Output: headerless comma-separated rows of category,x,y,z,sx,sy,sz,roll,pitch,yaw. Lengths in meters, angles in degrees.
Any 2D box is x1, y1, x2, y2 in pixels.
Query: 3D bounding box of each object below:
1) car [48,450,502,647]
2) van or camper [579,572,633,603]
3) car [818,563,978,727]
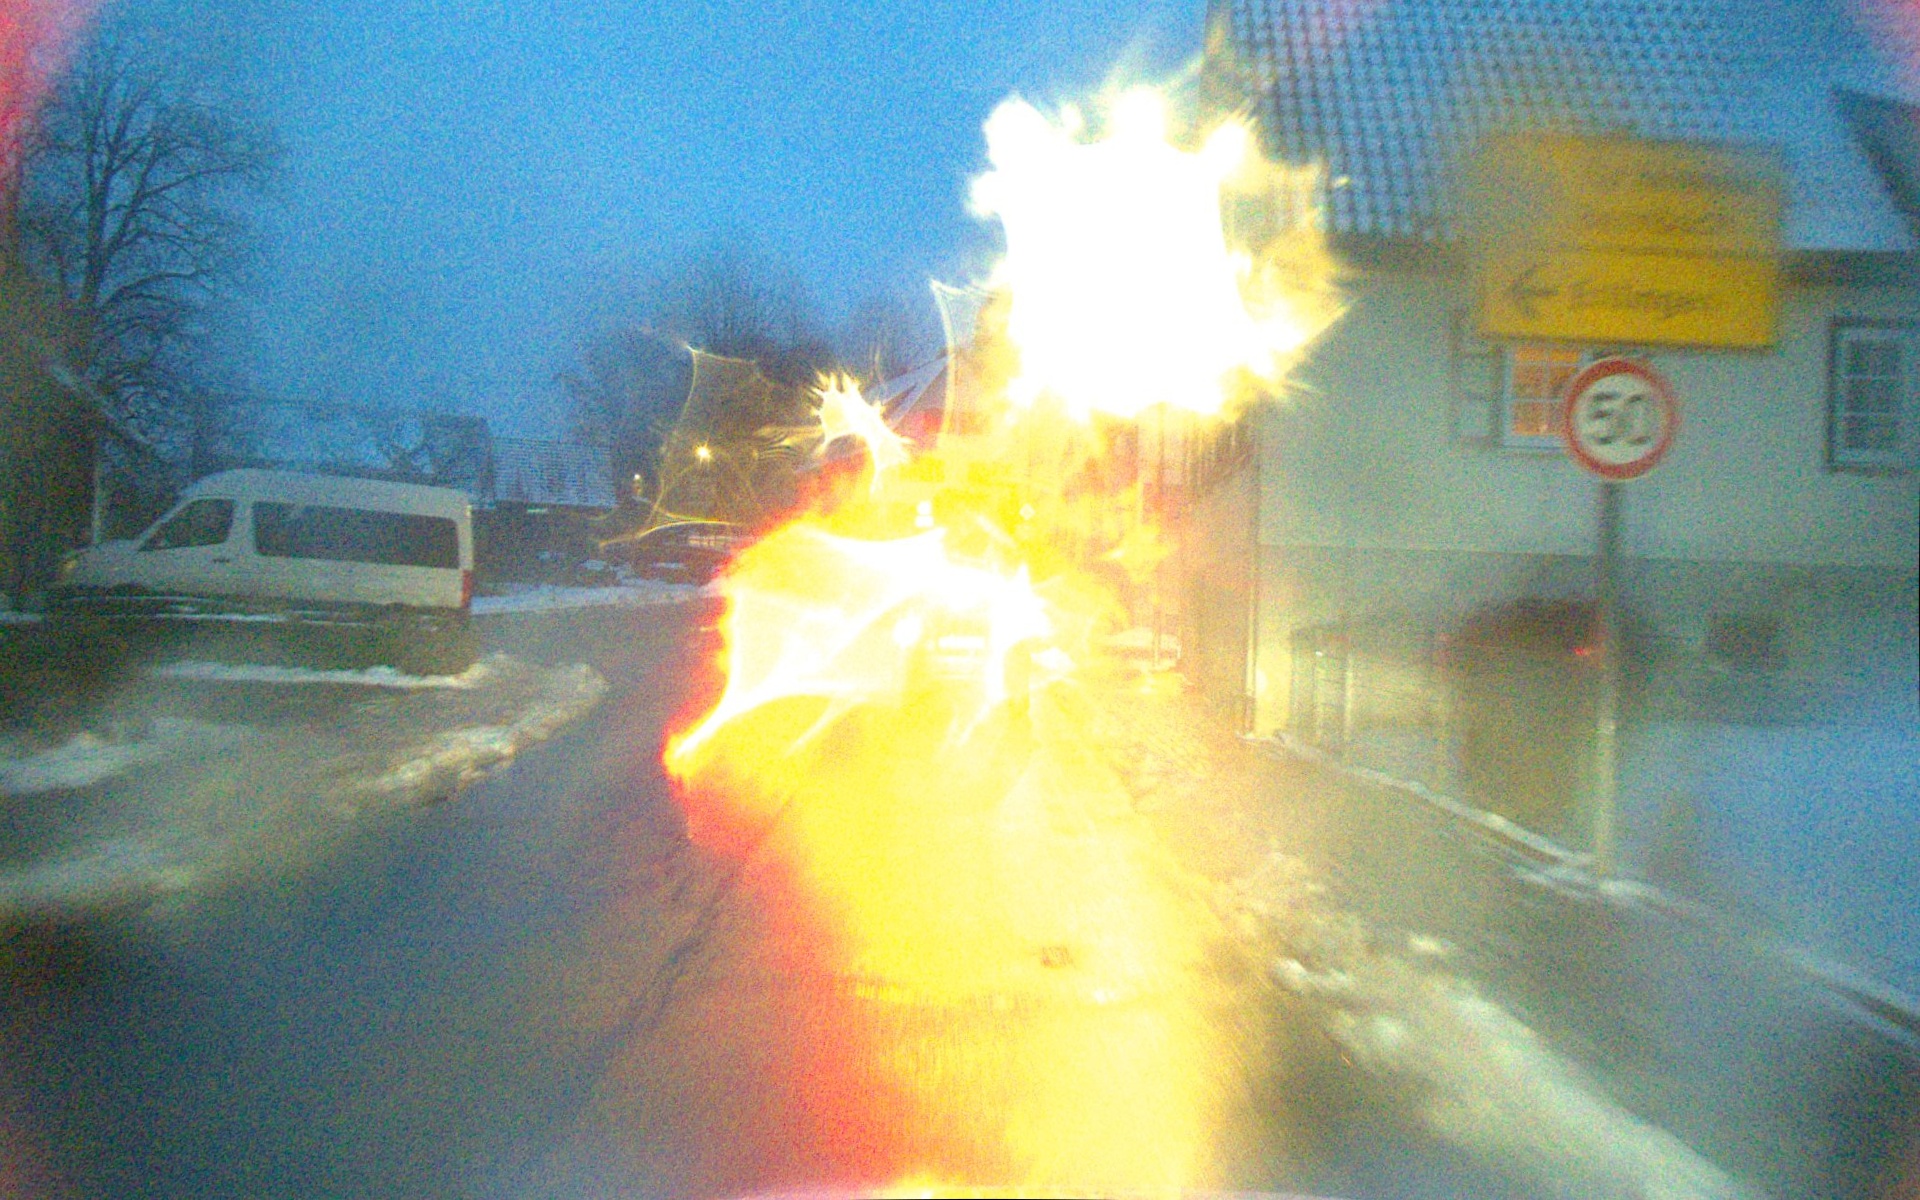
car,-10.191,-0.653,24.879,6.036,2.598,1.978,2,-1,-32
van or camper,-13.792,-0.473,64.344,1.267,1.121,3.244,2,-1,-27
car,-0.720,0.473,20.452,1.785,1.828,3.577,-1,1,-1
